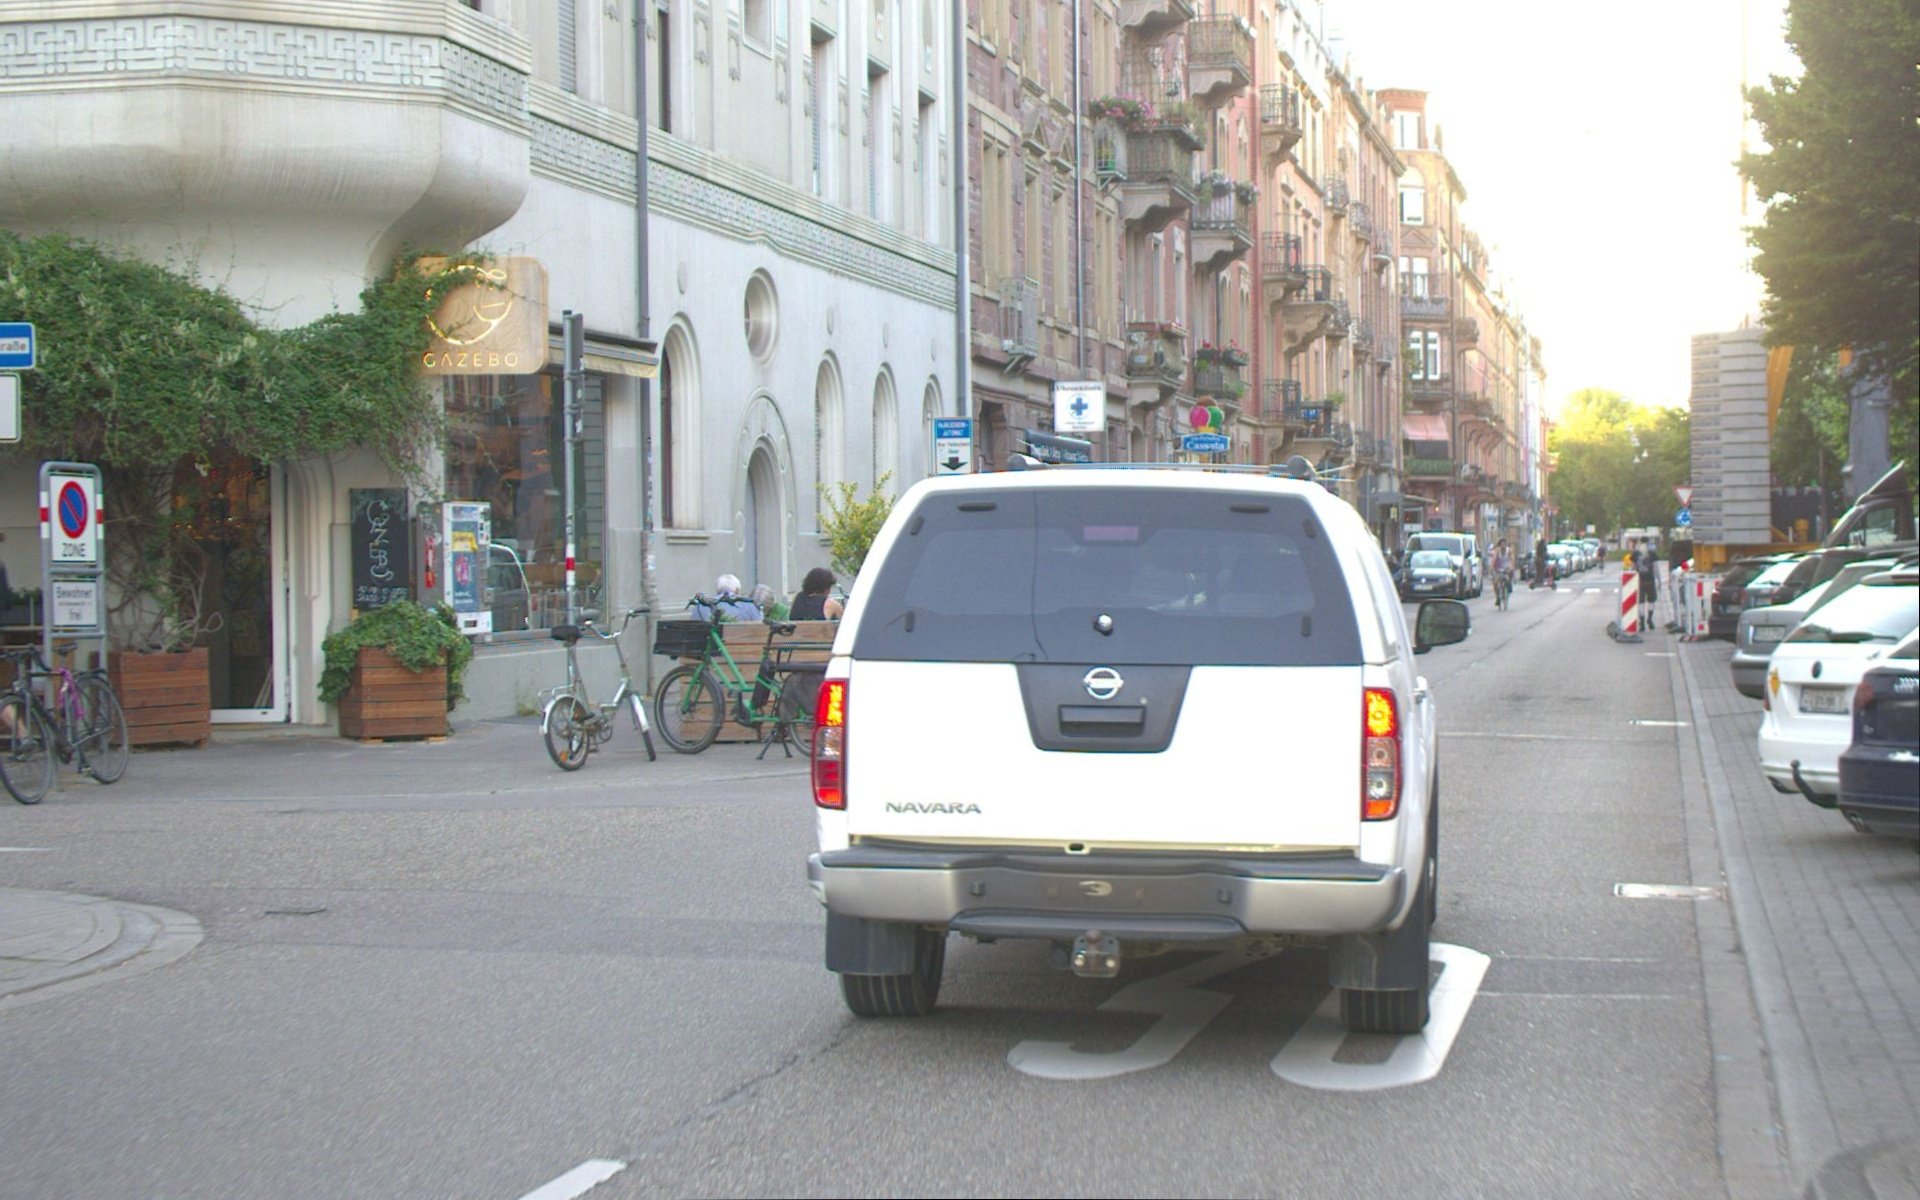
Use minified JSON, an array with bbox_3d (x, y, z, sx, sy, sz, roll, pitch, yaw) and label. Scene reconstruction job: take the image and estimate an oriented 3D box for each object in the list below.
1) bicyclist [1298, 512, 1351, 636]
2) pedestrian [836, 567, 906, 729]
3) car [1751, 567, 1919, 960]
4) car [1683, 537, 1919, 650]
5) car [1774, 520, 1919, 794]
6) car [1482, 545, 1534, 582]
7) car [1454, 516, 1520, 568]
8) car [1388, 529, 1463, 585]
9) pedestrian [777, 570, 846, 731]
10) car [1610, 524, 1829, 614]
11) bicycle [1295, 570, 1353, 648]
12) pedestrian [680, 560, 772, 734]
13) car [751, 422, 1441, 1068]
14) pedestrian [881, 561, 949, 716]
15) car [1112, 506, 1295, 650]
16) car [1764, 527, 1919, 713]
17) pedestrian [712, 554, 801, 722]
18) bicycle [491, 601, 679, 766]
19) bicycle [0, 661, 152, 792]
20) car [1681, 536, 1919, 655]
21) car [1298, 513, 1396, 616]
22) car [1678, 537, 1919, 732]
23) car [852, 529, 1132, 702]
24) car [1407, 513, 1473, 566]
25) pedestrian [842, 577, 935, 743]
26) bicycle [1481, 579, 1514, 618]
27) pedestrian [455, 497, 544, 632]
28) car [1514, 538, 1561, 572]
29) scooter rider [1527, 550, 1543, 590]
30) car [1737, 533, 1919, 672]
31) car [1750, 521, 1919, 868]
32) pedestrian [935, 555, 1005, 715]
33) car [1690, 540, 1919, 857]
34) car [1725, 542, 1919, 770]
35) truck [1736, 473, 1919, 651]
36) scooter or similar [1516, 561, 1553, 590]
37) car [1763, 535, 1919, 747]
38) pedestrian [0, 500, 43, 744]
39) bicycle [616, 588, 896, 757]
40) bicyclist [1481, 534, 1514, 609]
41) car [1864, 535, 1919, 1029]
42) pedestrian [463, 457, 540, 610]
[{"bbox_3d":[4.996,-0.362,47.107,0.603,1.679,1.142,-1,1,12],"label":"bicyclist"},{"bbox_3d":[-0.749,0.400,29.014,0.468,1.345,0.611,0,1,10],"label":"pedestrian"},{"bbox_3d":[5.393,0.575,13.660,3.986,1.468,1.876,-1,0,-21],"label":"car"},{"bbox_3d":[12.249,-0.113,48.456,3.880,1.525,1.638,0,1,-28],"label":"car"},{"bbox_3d":[6.991,0.287,20.968,3.593,1.575,1.717,-1,1,-21],"label":"car"},{"bbox_3d":[23.514,-1.589,147.502,1.848,1.546,4.353,0,1,14],"label":"car"},{"bbox_3d":[18.290,-2.016,119.241,1.994,1.778,4.217,0,1,13],"label":"car"},{"bbox_3d":[12.994,-1.200,95.813,1.792,1.525,3.998,0,1,12],"label":"car"},{"bbox_3d":[-1.256,0.424,29.162,0.468,1.345,0.611,0,1,10],"label":"pedestrian"},{"bbox_3d":[15.414,-0.641,69.752,4.199,1.774,1.818,1,1,17],"label":"car"},{"bbox_3d":[4.993,0.113,47.089,0.615,1.036,1.903,-1,1,11],"label":"bicycle"},{"bbox_3d":[-1.805,0.355,26.626,0.537,1.320,0.704,0,1,12],"label":"pedestrian"},{"bbox_3d":[0.679,0.389,11.999,1.934,1.788,4.620,1,0,8],"label":"car"},{"bbox_3d":[-0.395,0.328,30.229,0.517,1.345,0.540,0,1,9],"label":"pedestrian"},{"bbox_3d":[3.483,-0.341,48.367,1.906,1.919,4.944,1,1,12],"label":"car"},{"bbox_3d":[9.696,0.118,31.806,3.986,1.631,1.759,-2,1,-8],"label":"car"},{"bbox_3d":[-1.614,0.292,27.374,0.537,1.320,0.704,0,1,12],"label":"pedestrian"},{"bbox_3d":[-2.522,0.543,23.284,0.424,1.009,1.716,1,2,25],"label":"bicycle"},{"bbox_3d":[-5.784,0.802,22.262,0.423,0.693,1.779,0,3,9],"label":"bicycle"},{"bbox_3d":[11.820,-0.084,46.162,3.824,1.432,1.763,-2,2,-23],"label":"car"},{"bbox_3d":[7.616,-0.716,67.393,1.560,1.914,3.854,2,1,11],"label":"car"},{"bbox_3d":[8.408,0.230,28.828,4.371,1.529,1.808,-1,1,-21],"label":"car"},{"bbox_3d":[0.396,0.111,33.803,1.994,1.586,4.312,-1,1,11],"label":"car"},{"bbox_3d":[14.191,-1.783,101.545,1.711,1.525,3.998,0,1,11],"label":"car"},{"bbox_3d":[-0.577,0.475,27.951,0.609,1.320,0.770,0,1,10],"label":"pedestrian"},{"bbox_3d":[13.401,-0.044,85.687,0.800,0.944,2.004,0,1,9],"label":"bicycle"},{"bbox_3d":[-3.984,-0.311,29.767,0.557,1.150,0.748,0,1,11],"label":"pedestrian"},{"bbox_3d":[27.375,-2.149,162.910,1.848,1.546,4.352,0,1,15],"label":"car"},{"bbox_3d":[20.410,-1.077,121.974,0.485,1.418,0.294,0,1,34],"label":"scooter rider"},{"bbox_3d":[11.027,-0.015,40.028,3.395,1.469,1.775,-3,2,-19],"label":"car"},{"bbox_3d":[5.927,0.381,16.135,3.986,1.518,1.710,-1,0,-19],"label":"car"},{"bbox_3d":[0.090,0.292,29.293,0.484,1.345,0.669,0,1,10],"label":"pedestrian"},{"bbox_3d":[6.060,0.440,18.255,3.986,1.532,1.636,-1,1,-19],"label":"car"},{"bbox_3d":[7.327,0.327,23.712,3.593,1.477,1.723,-1,1,-16],"label":"car"},{"bbox_3d":[16.537,-0.620,58.793,6.324,2.966,2.263,0,-2,13],"label":"truck"},{"bbox_3d":[20.388,-0.857,121.991,1.259,1.024,0.310,0,1,34],"label":"scooter or similar"},{"bbox_3d":[8.108,0.256,26.097,3.593,1.529,1.563,-1,1,-16],"label":"car"},{"bbox_3d":[-6.716,0.149,23.856,0.614,1.669,0.568,-1,1,-20],"label":"pedestrian"},{"bbox_3d":[-1.444,0.486,24.026,2.114,1.091,0.500,1,3,36],"label":"bicycle"},{"bbox_3d":[13.383,-0.714,85.587,0.800,1.843,0.943,0,1,9],"label":"bicyclist"},{"bbox_3d":[4.989,0.523,10.456,3.986,1.501,1.771,-1,1,-17],"label":"car"},{"bbox_3d":[-4.087,-0.592,30.660,0.539,1.345,0.518,0,1,12],"label":"pedestrian"}]
